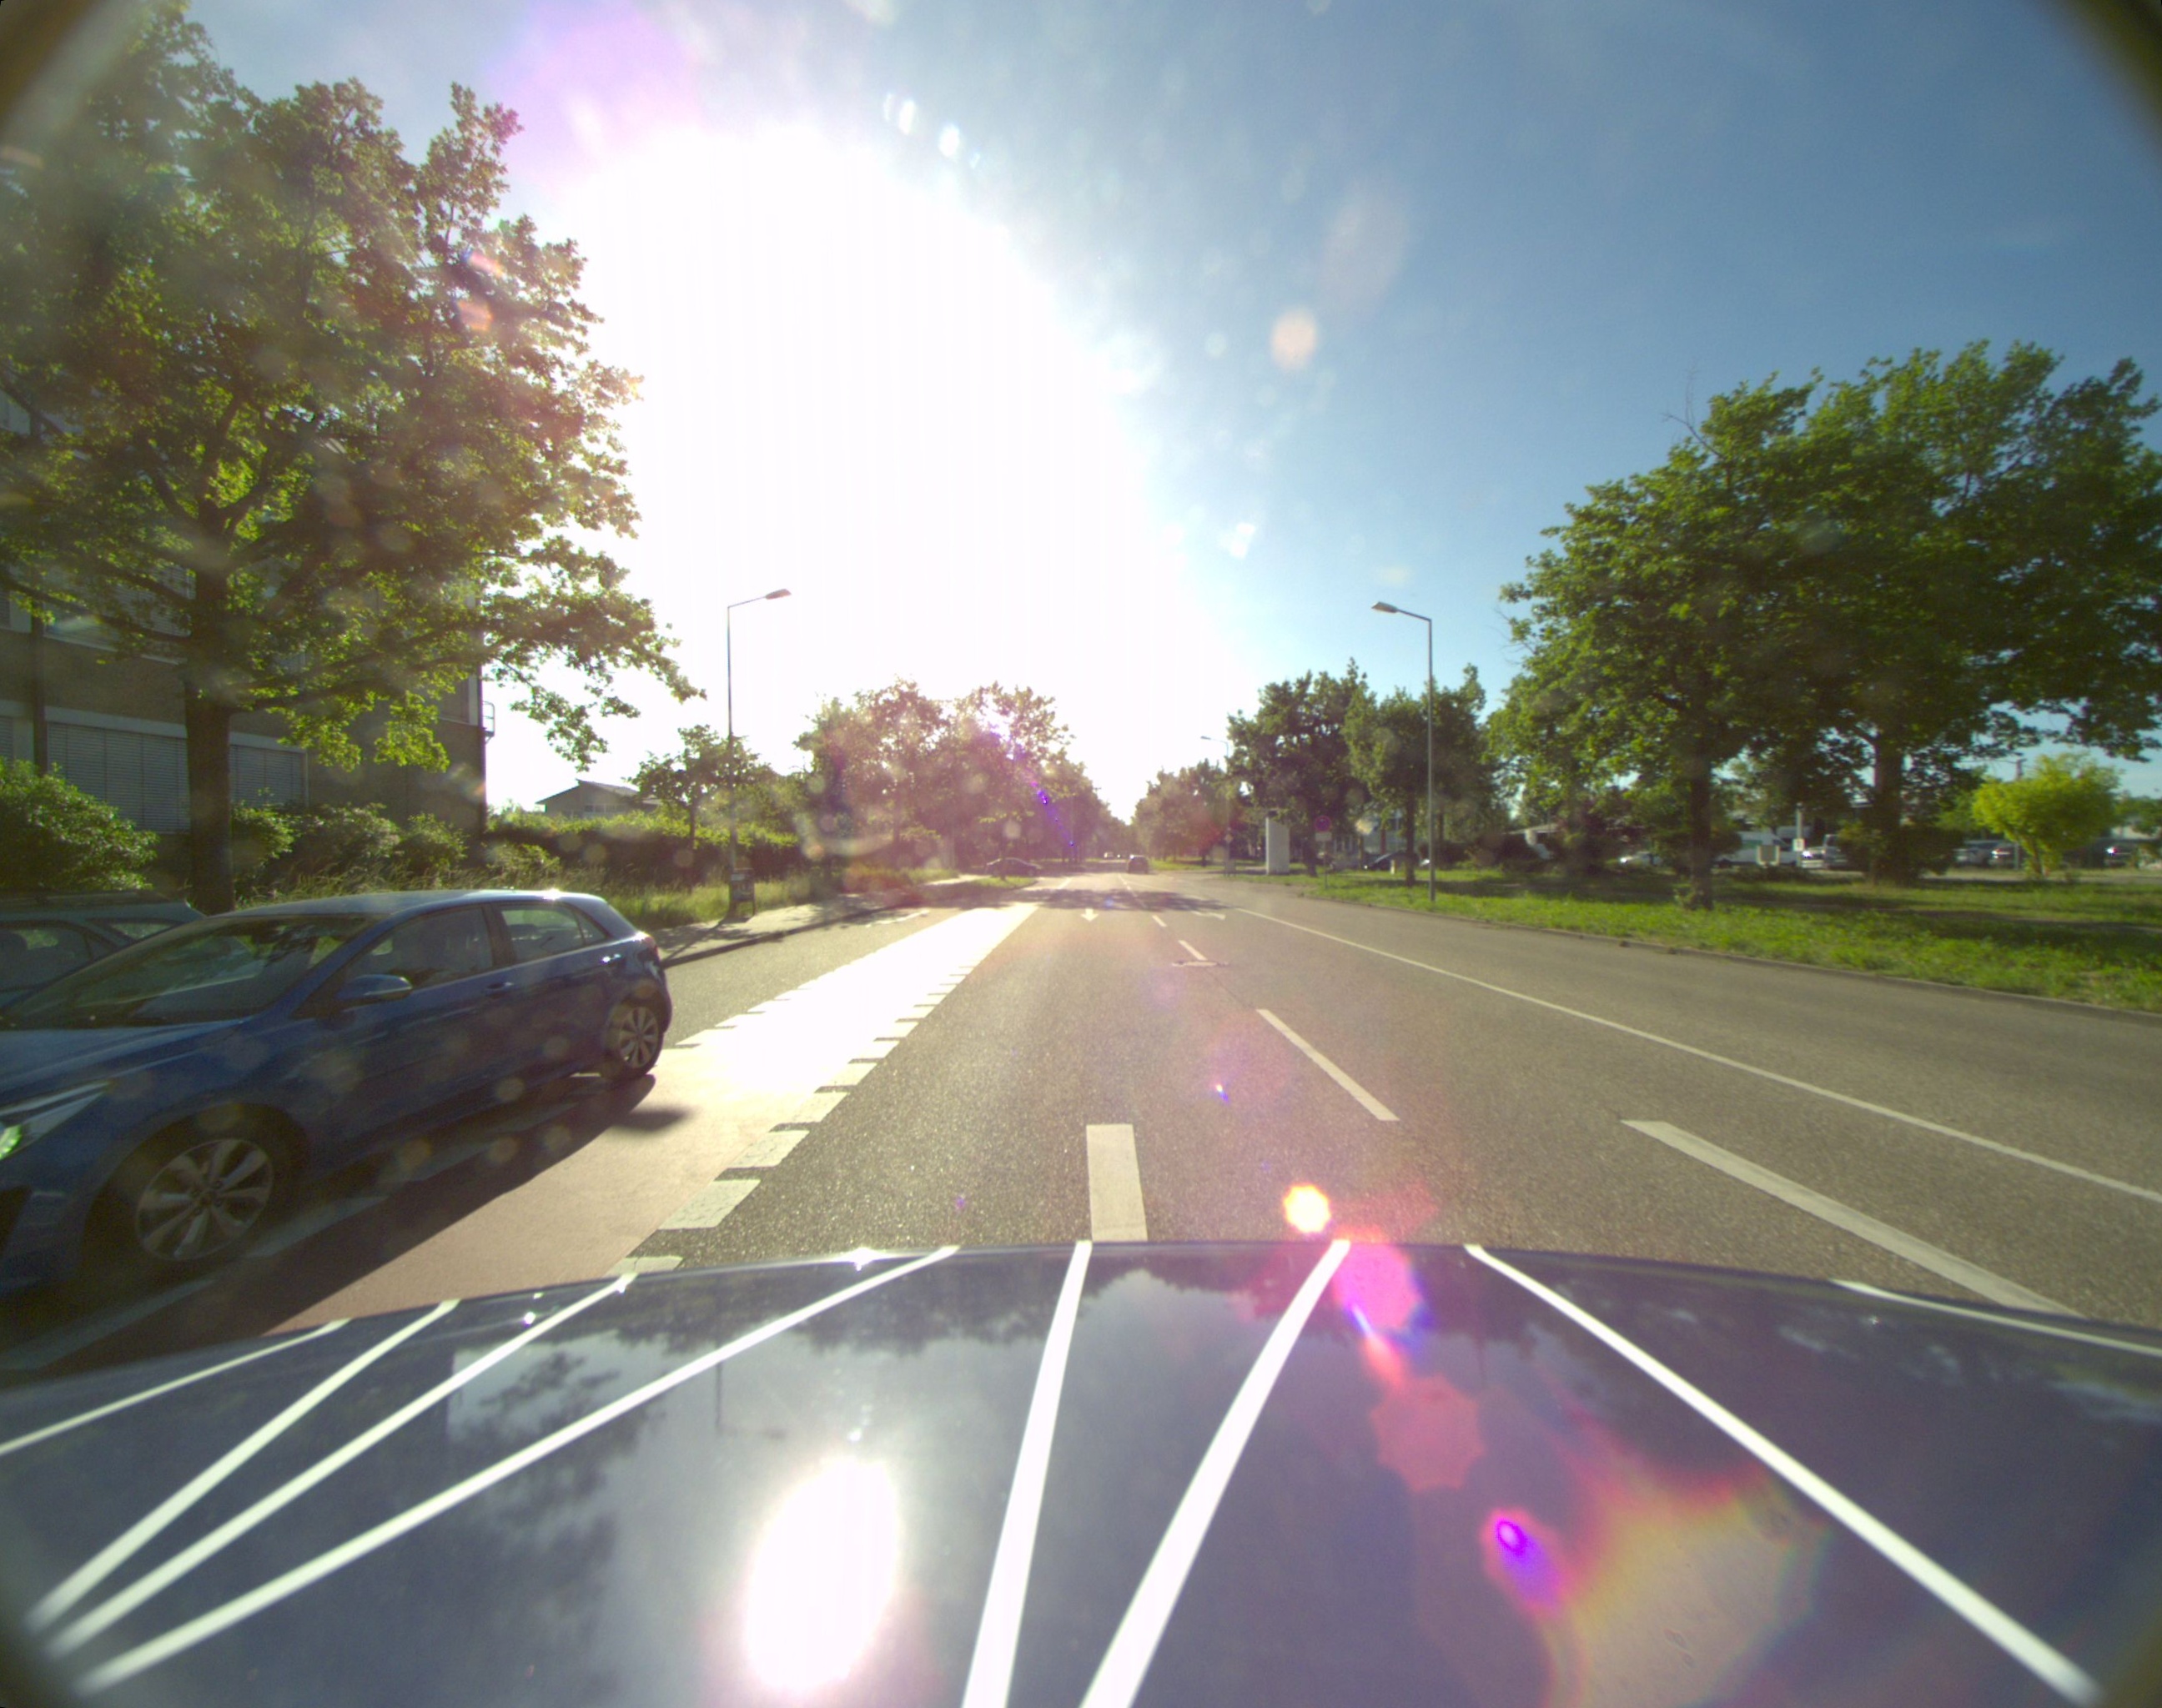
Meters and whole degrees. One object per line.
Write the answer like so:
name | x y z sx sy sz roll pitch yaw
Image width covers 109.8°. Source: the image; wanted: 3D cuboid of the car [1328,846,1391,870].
car | 23.939 0.306 65.358 4.637 1.822 2.000 -2 1 0

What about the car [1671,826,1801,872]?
car | 39.909 -0.325 46.384 6.023 2.540 2.409 -2 1 -4

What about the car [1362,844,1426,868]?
car | 25.738 0.154 62.601 4.463 1.822 2.000 -2 1 0

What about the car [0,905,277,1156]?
car | -7.520 1.133 4.210 1.706 1.460 4.141 -1 -1 0

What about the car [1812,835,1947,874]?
car | 40.069 0.008 38.207 4.642 1.771 1.990 -2 1 0

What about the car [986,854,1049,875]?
car | -4.817 0.772 58.088 4.483 1.510 1.897 0 1 4

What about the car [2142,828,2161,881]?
car | 33.895 -0.074 22.027 3.817 1.562 1.736 -2 -1 0

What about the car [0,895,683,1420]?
car | -4.171 1.093 4.131 1.653 1.460 3.942 -2 0 4

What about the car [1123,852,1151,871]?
car | 4.683 0.625 64.051 1.768 1.517 4.078 0 0 -4

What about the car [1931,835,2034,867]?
car | 52.097 -0.191 43.945 3.860 1.661 1.762 -2 1 0
